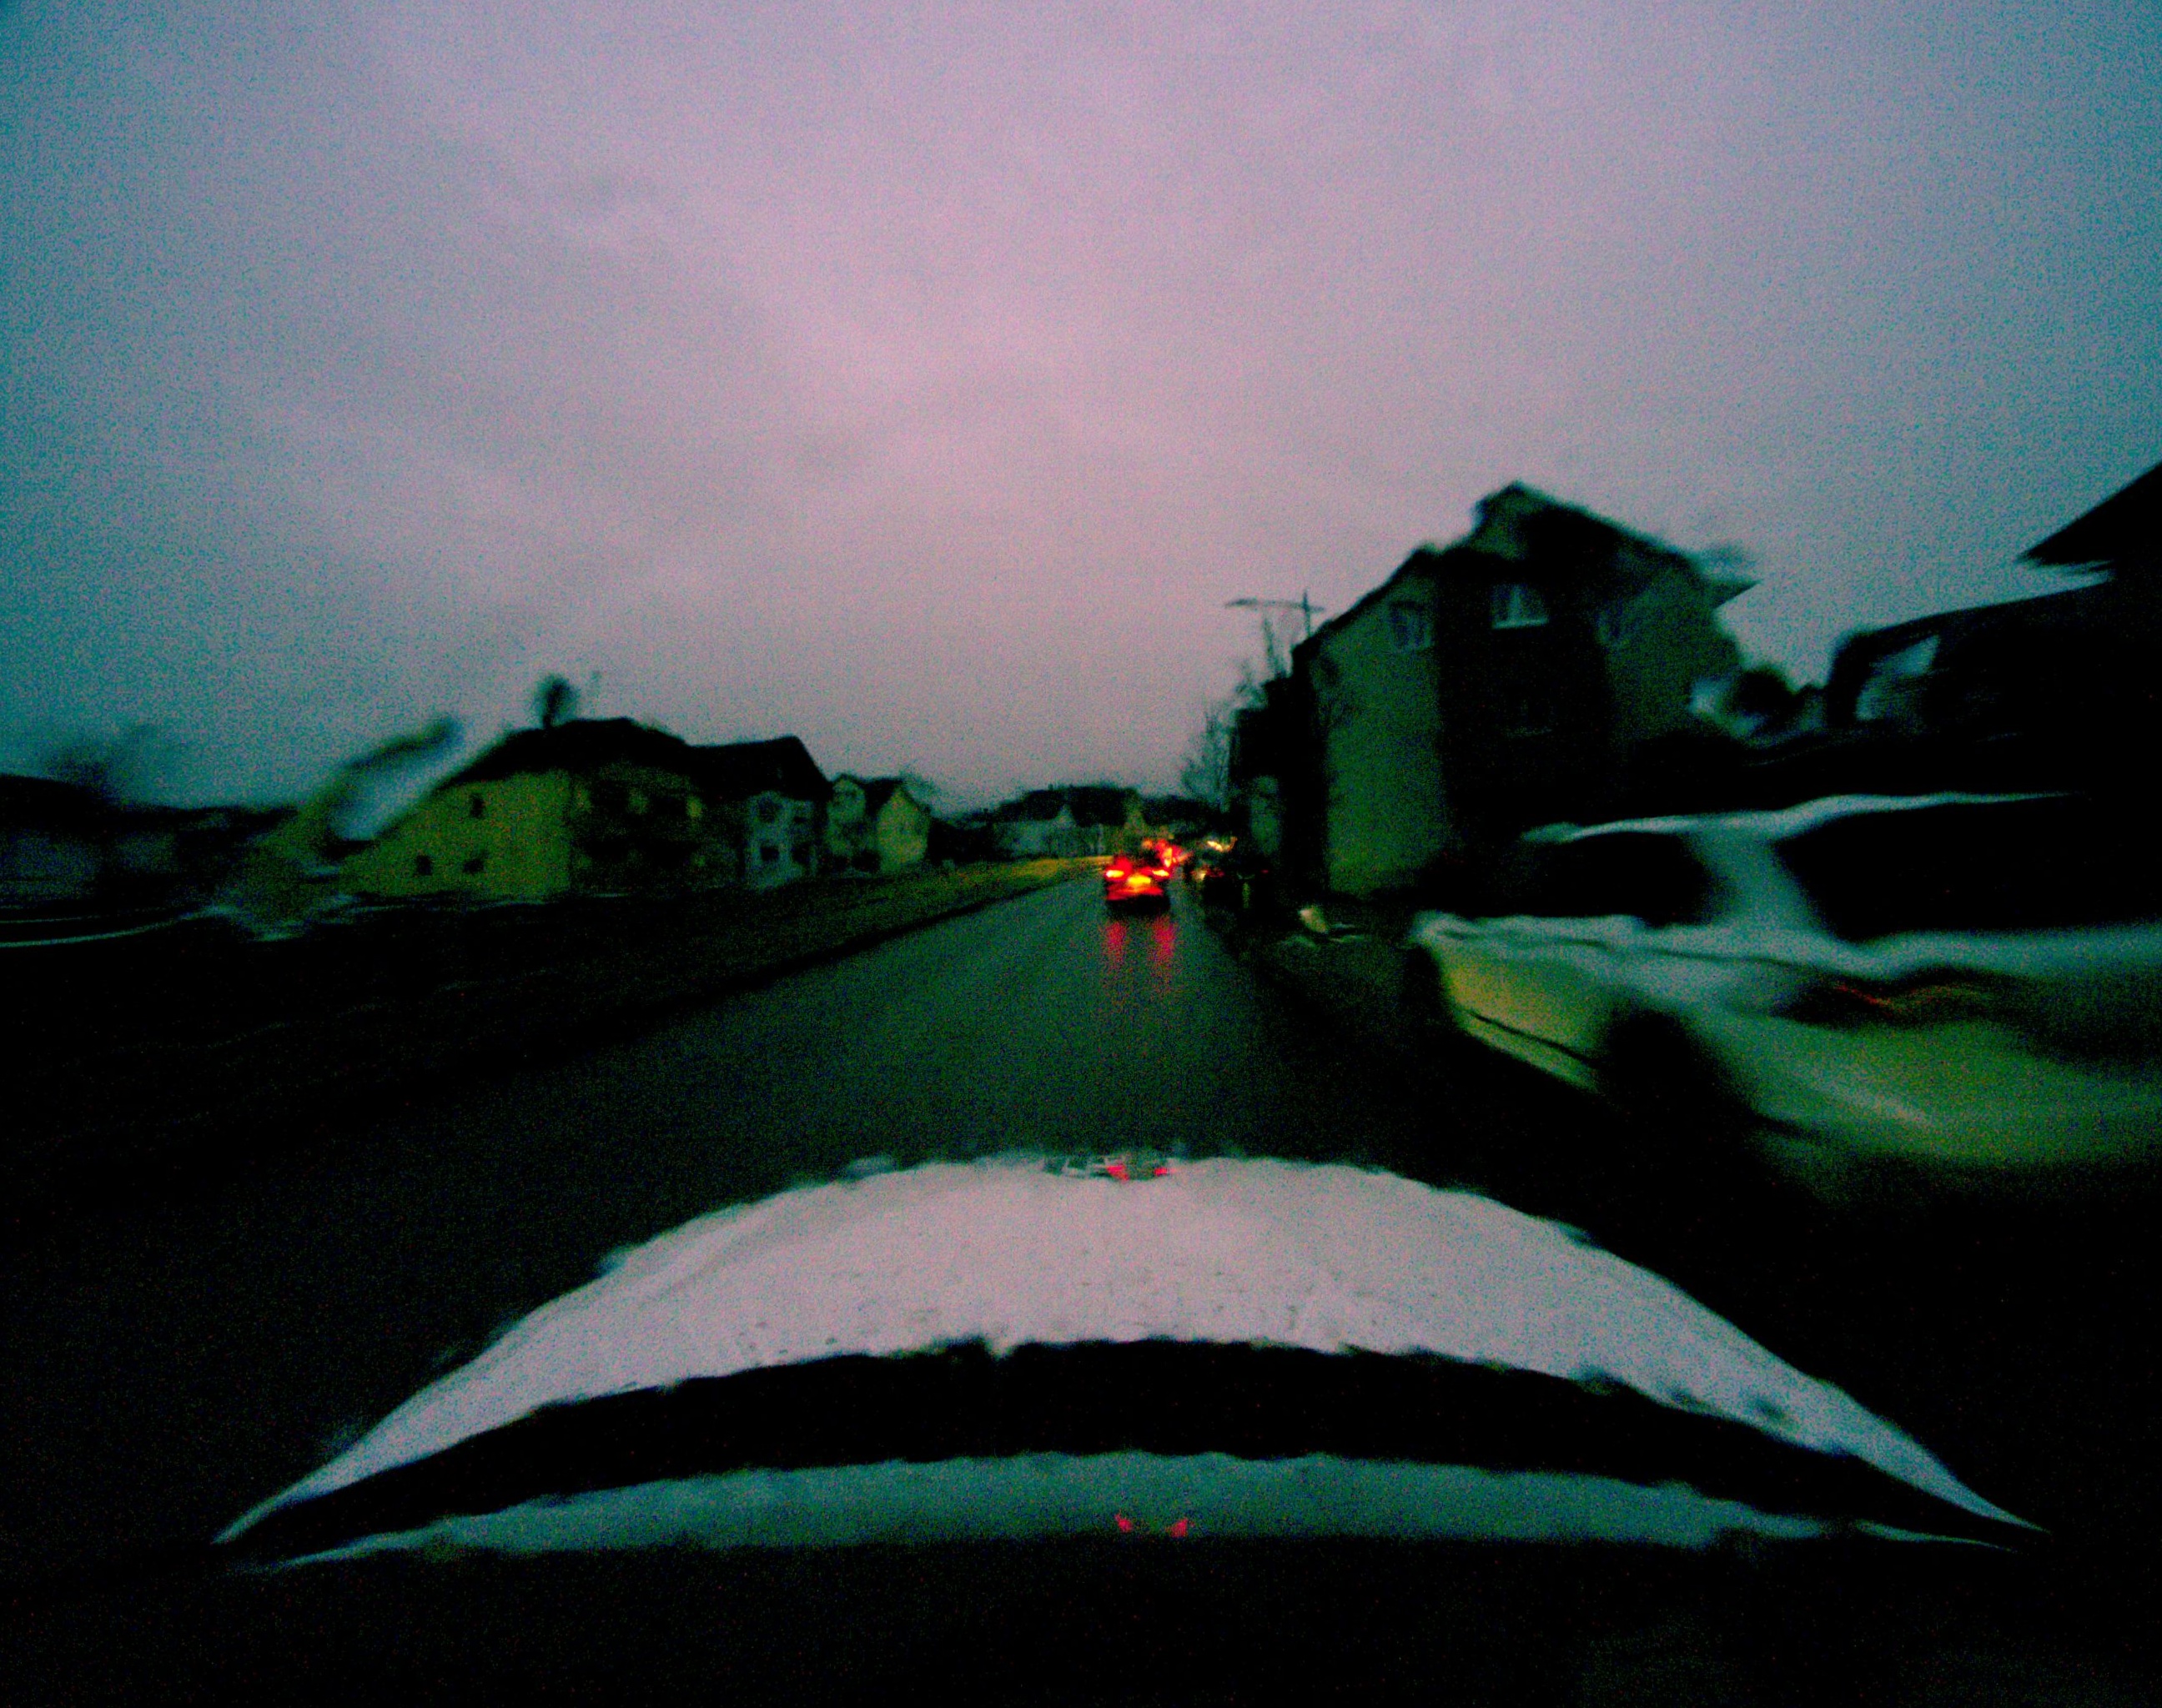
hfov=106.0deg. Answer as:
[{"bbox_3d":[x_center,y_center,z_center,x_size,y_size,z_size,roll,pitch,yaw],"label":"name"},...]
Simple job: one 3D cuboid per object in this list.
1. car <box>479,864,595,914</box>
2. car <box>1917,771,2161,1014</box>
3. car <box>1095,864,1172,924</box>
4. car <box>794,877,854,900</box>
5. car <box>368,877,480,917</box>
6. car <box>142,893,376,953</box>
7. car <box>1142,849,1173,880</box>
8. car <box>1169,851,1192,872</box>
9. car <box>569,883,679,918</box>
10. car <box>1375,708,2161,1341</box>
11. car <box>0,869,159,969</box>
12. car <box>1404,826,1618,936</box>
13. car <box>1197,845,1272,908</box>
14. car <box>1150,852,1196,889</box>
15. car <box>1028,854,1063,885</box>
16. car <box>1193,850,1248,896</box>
[{"bbox_3d":[-23.625,1.520,35.408,3.957,2.013,2.008,-1,0,15],"label":"car"},{"bbox_3d":[7.922,0.206,4.822,1.956,1.583,4.349,-3,0,11],"label":"car"},{"bbox_3d":[1.542,1.087,23.696,1.985,1.525,4.004,-2,-1,4],"label":"car"},{"bbox_3d":[-16.809,2.262,53.417,1.981,1.307,4.125,-1,0,11],"label":"car"},{"bbox_3d":[-29.427,1.928,36.509,3.996,1.662,1.855,-1,0,15],"label":"car"},{"bbox_3d":[-22.531,1.836,22.585,1.981,1.307,4.125,-1,0,11],"label":"car"},{"bbox_3d":[5.482,0.753,57.679,1.983,2.014,4.007,-2,-1,7],"label":"car"},{"bbox_3d":[9.769,0.749,80.091,1.982,2.014,4.010,-2,-1,9],"label":"car"},{"bbox_3d":[-19.982,1.993,35.820,1.981,1.307,4.125,-1,0,11],"label":"car"},{"bbox_3d":[3.227,0.466,4.534,1.737,1.785,4.340,-5,0,4],"label":"car"},{"bbox_3d":[-23.096,1.376,17.398,1.981,2.014,4.012,-1,0,11],"label":"car"},{"bbox_3d":[7.539,0.437,14.708,1.780,1.640,3.569,-3,0,-4],"label":"car"},{"bbox_3d":[4.588,0.629,24.819,1.982,1.670,4.009,-3,-1,8],"label":"car"},{"bbox_3d":[4.383,0.772,39.159,1.985,1.679,4.004,-1,0,3],"label":"car"},{"bbox_3d":[-2.399,1.057,55.982,1.985,2.014,4.002,-2,-1,3],"label":"car"},{"bbox_3d":[5.588,0.714,32.668,1.981,1.670,4.011,-2,-1,10],"label":"car"}]
